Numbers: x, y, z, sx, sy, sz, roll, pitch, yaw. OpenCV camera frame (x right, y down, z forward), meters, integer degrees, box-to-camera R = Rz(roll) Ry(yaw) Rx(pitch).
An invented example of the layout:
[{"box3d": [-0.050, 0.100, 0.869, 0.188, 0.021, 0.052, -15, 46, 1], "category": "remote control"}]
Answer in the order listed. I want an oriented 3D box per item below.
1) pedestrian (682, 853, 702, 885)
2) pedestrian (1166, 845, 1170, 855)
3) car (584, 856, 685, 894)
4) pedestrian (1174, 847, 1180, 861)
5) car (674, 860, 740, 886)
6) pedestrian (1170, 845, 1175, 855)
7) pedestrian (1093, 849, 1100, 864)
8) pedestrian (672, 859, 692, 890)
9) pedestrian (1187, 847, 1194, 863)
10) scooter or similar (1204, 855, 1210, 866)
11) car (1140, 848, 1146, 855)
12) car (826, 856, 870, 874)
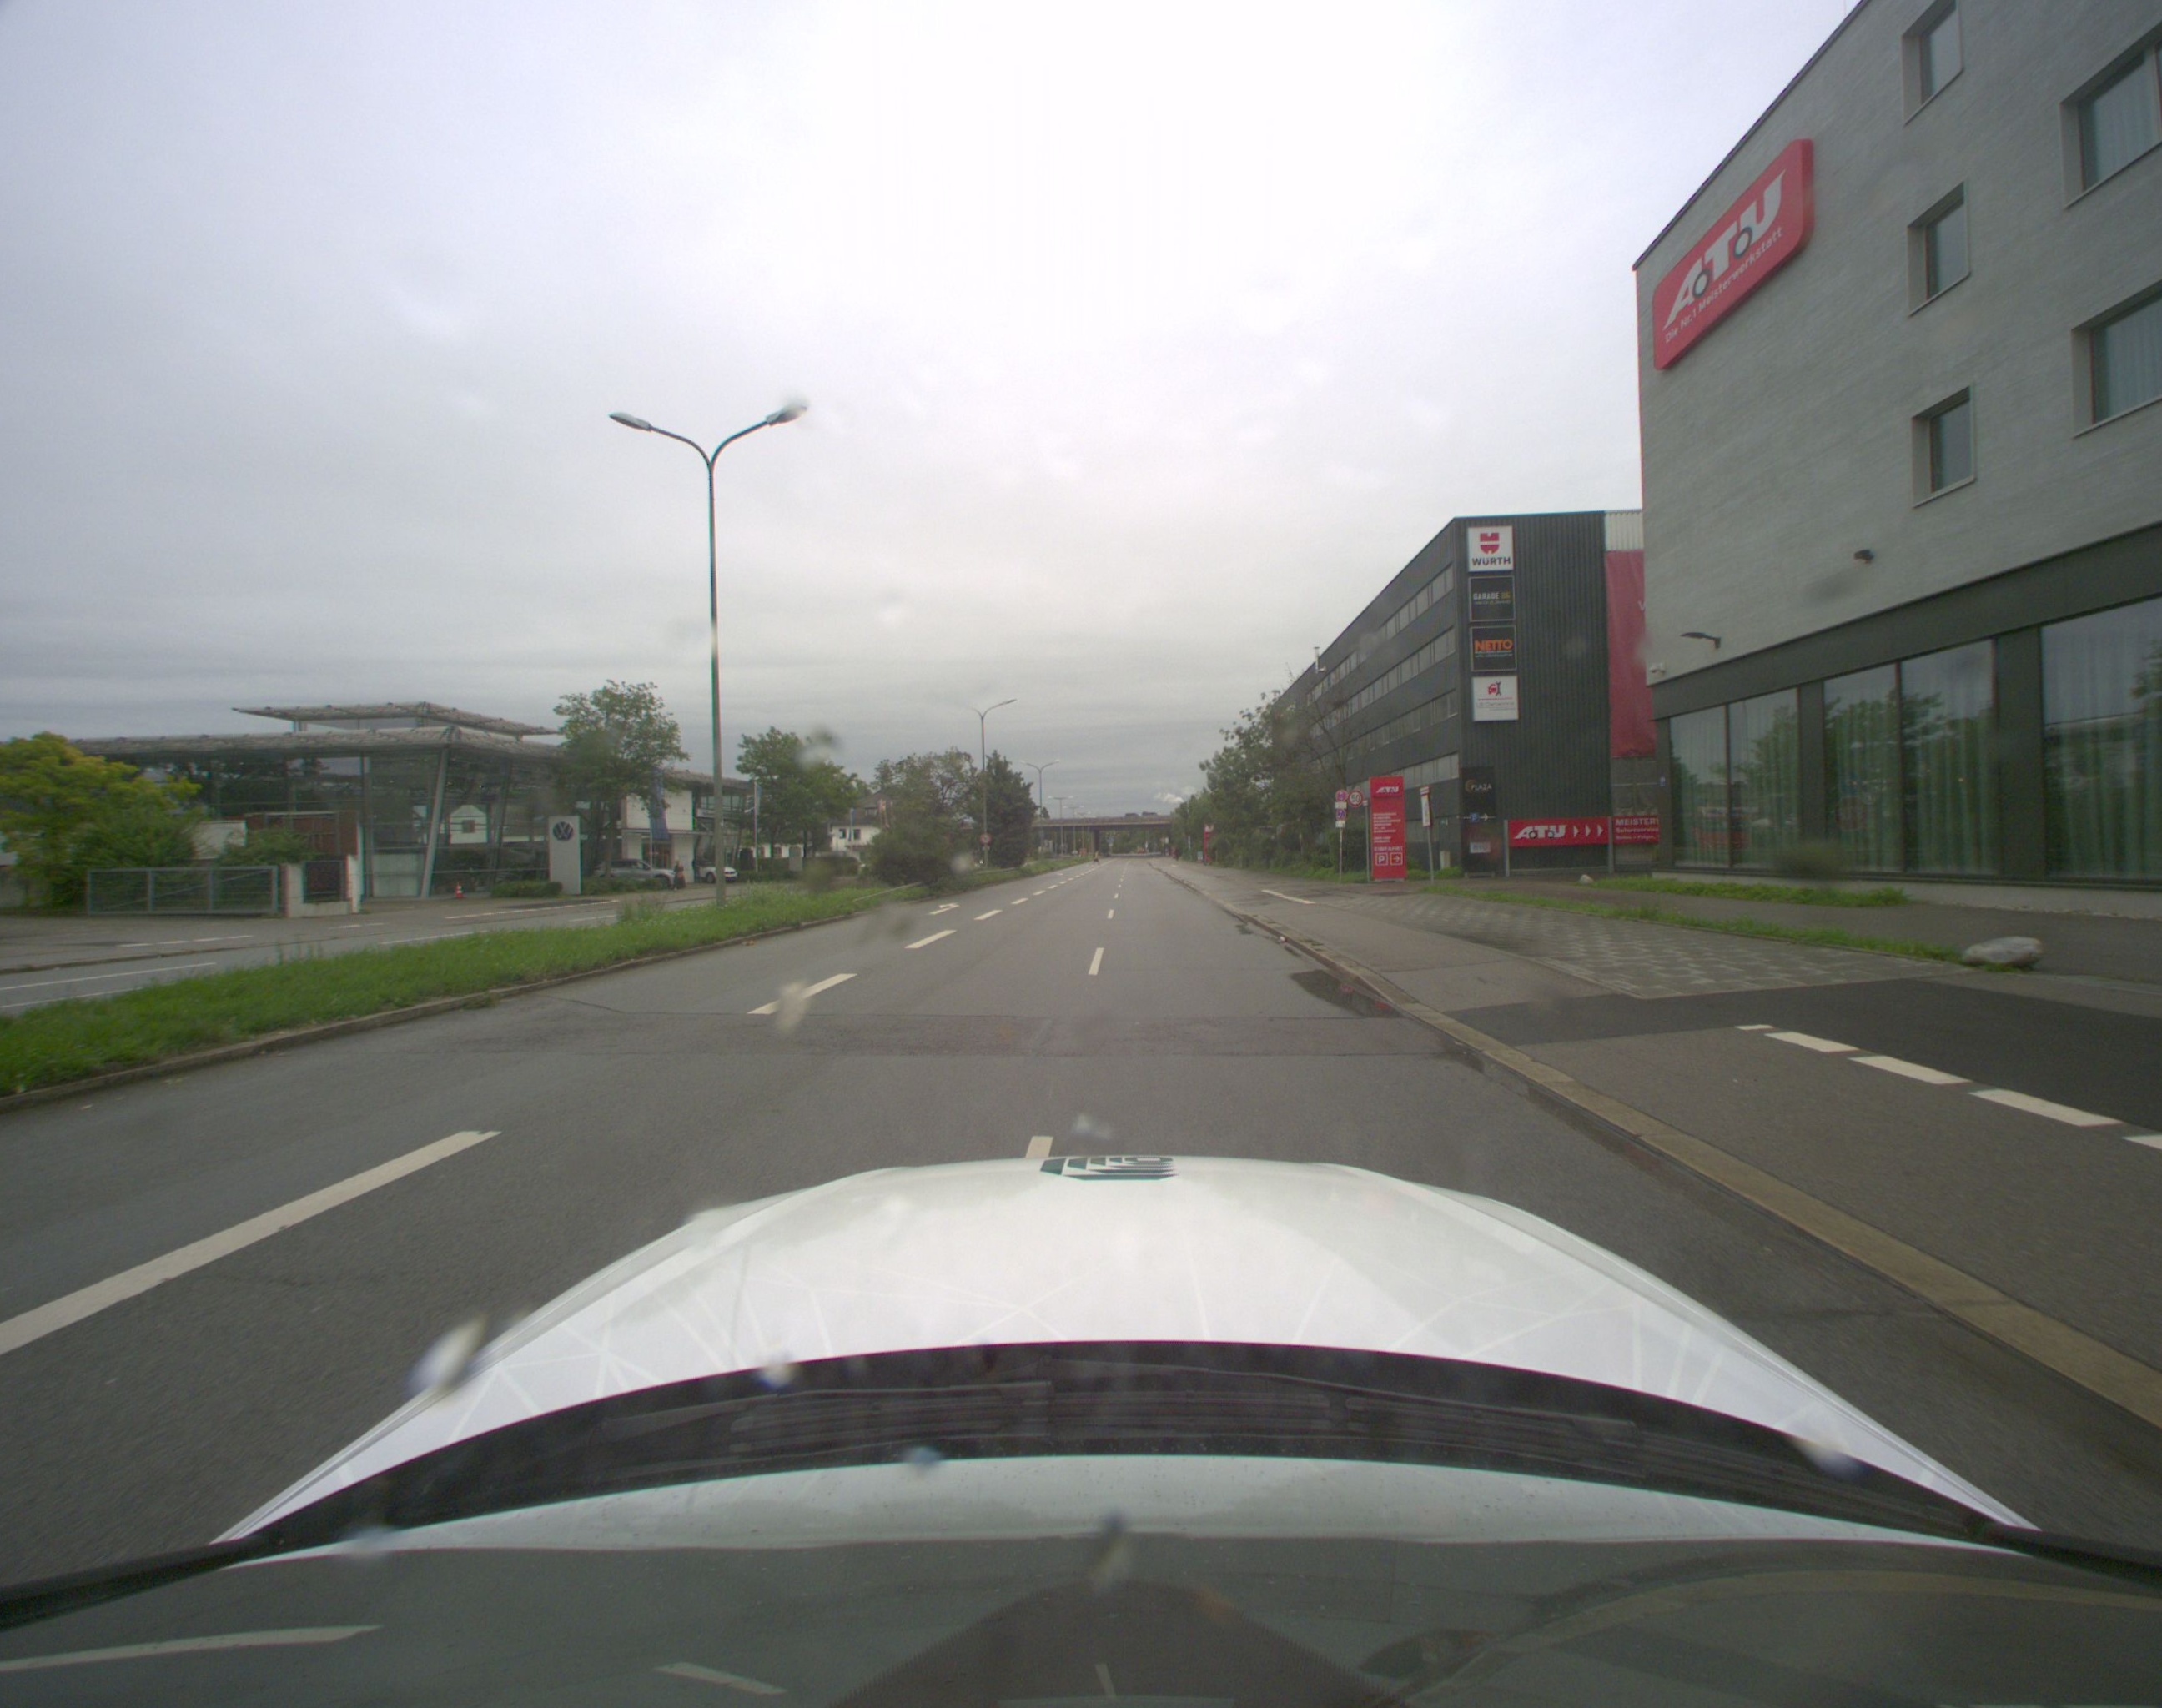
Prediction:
[{"box3d": [-25.074, 0.935, 52.503, 0.711, 2.013, 0.880, -3, 0, 3], "category": "pedestrian"}, {"box3d": [14.067, -0.608, 131.697, 0.686, 1.617, 0.662, -3, 0, 3], "category": "pedestrian"}, {"box3d": [-24.948, 1.163, 45.670, 4.647, 1.842, 1.789, -3, 0, -20], "category": "car"}, {"box3d": [13.187, 0.044, 111.413, 0.686, 1.876, 0.662, -3, 0, 3], "category": "pedestrian"}, {"box3d": [-24.995, 1.249, 54.435, 3.951, 1.509, 1.811, -3, 0, 24], "category": "car"}, {"box3d": [15.117, -0.644, 133.925, 0.686, 1.617, 0.662, -3, 0, 3], "category": "pedestrian"}, {"box3d": [1.738, 0.298, 90.955, 0.656, 1.617, 0.692, -3, 0, 8], "category": "pedestrian"}, {"box3d": [-21.323, 1.087, 43.539, 0.634, 1.610, 0.622, -3, 0, 2], "category": "pedestrian"}, {"box3d": [13.334, 0.144, 98.883, 0.686, 1.876, 0.662, -3, 0, 3], "category": "pedestrian"}, {"box3d": [11.705, 0.573, 75.623, 0.303, 1.004, 1.220, -3, 0, 1], "category": "scooter or similar"}, {"box3d": [18.032, -0.597, 236.034, 1.804, 2.013, 3.839, -1, 0, 5], "category": "car"}, {"box3d": [-24.486, 1.125, 85.690, 4.141, 1.708, 1.844, -3, 0, -9], "category": "car"}]
